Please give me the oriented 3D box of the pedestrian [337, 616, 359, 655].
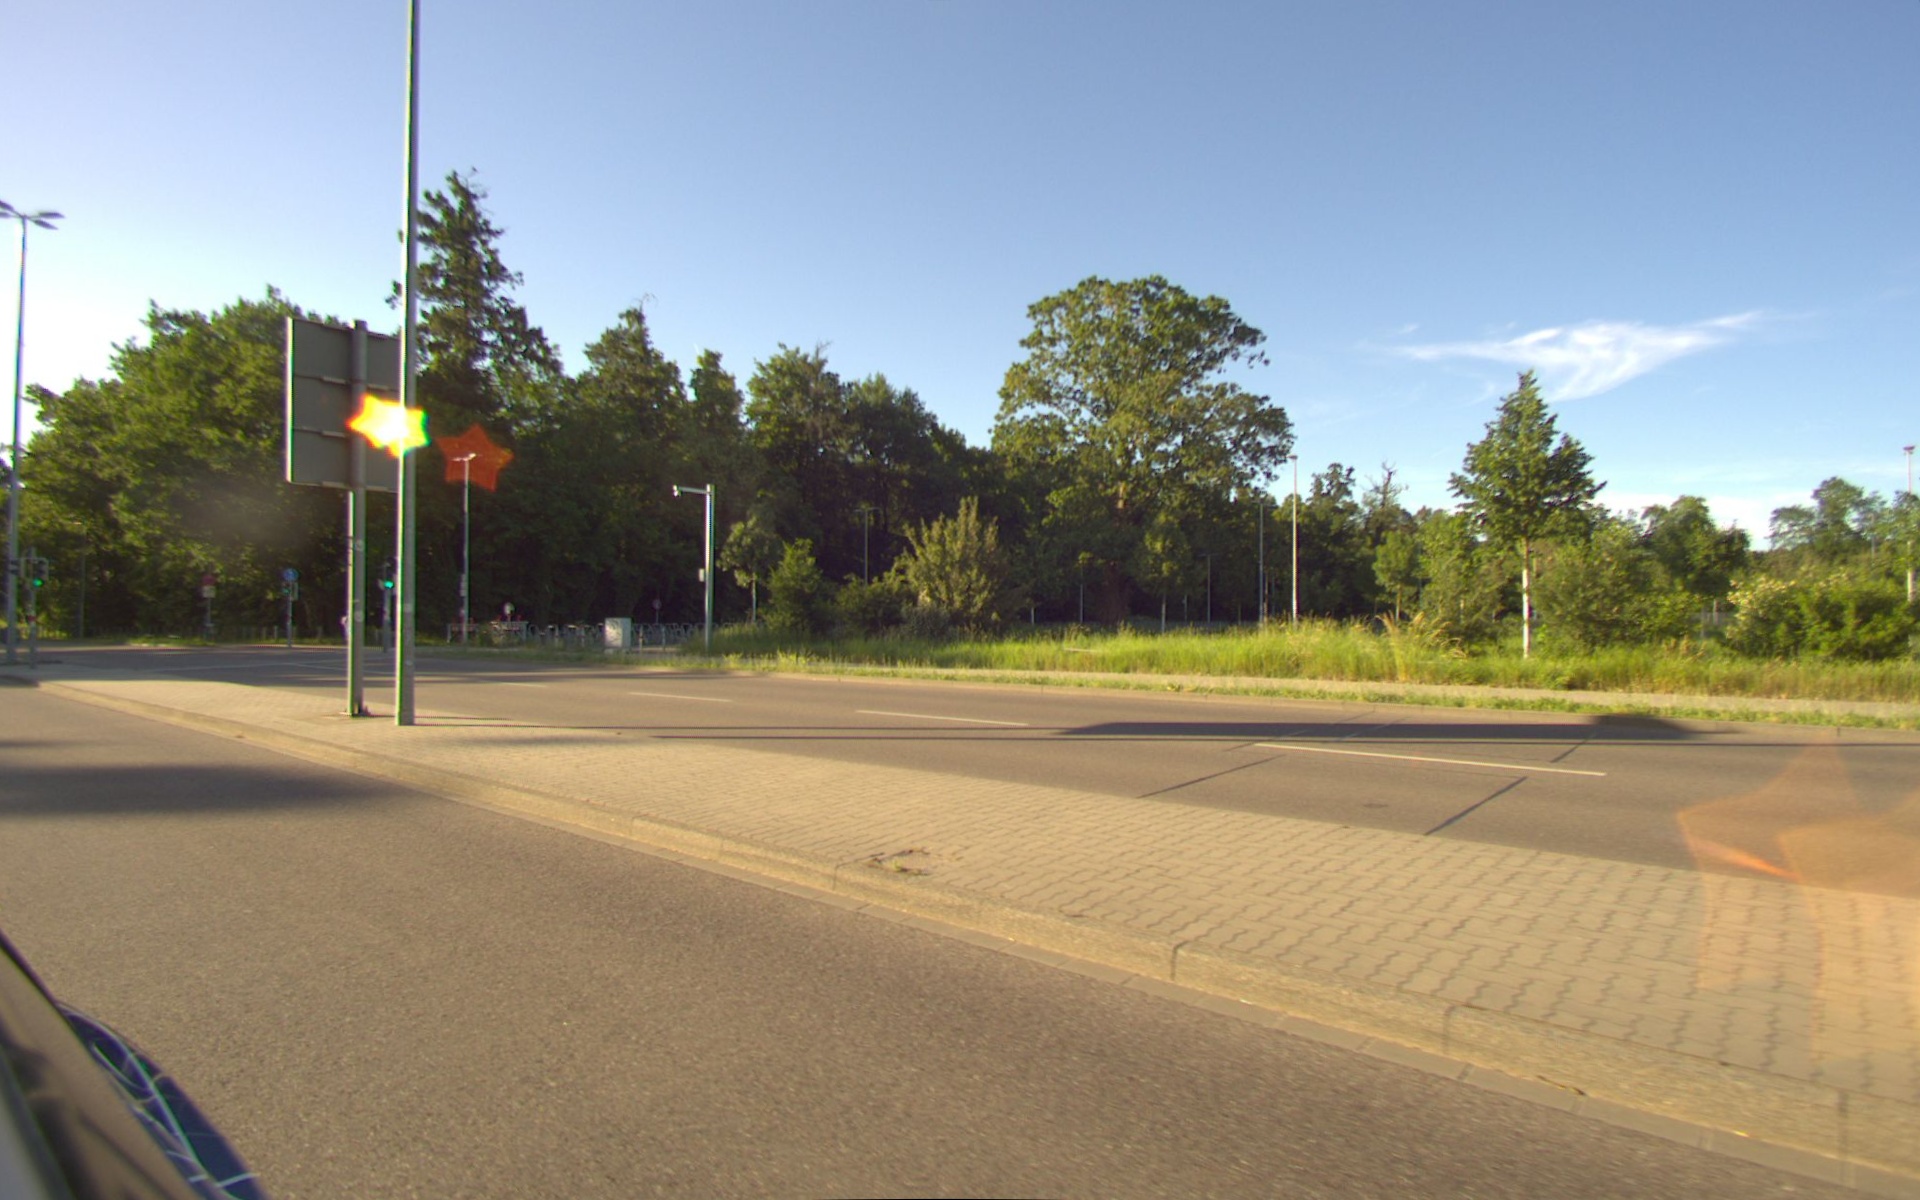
[{"bbox_3d":[-28.745,1.667,47.536,0.734,1.788,0.682,-2,-3,43],"label":"pedestrian"}]
